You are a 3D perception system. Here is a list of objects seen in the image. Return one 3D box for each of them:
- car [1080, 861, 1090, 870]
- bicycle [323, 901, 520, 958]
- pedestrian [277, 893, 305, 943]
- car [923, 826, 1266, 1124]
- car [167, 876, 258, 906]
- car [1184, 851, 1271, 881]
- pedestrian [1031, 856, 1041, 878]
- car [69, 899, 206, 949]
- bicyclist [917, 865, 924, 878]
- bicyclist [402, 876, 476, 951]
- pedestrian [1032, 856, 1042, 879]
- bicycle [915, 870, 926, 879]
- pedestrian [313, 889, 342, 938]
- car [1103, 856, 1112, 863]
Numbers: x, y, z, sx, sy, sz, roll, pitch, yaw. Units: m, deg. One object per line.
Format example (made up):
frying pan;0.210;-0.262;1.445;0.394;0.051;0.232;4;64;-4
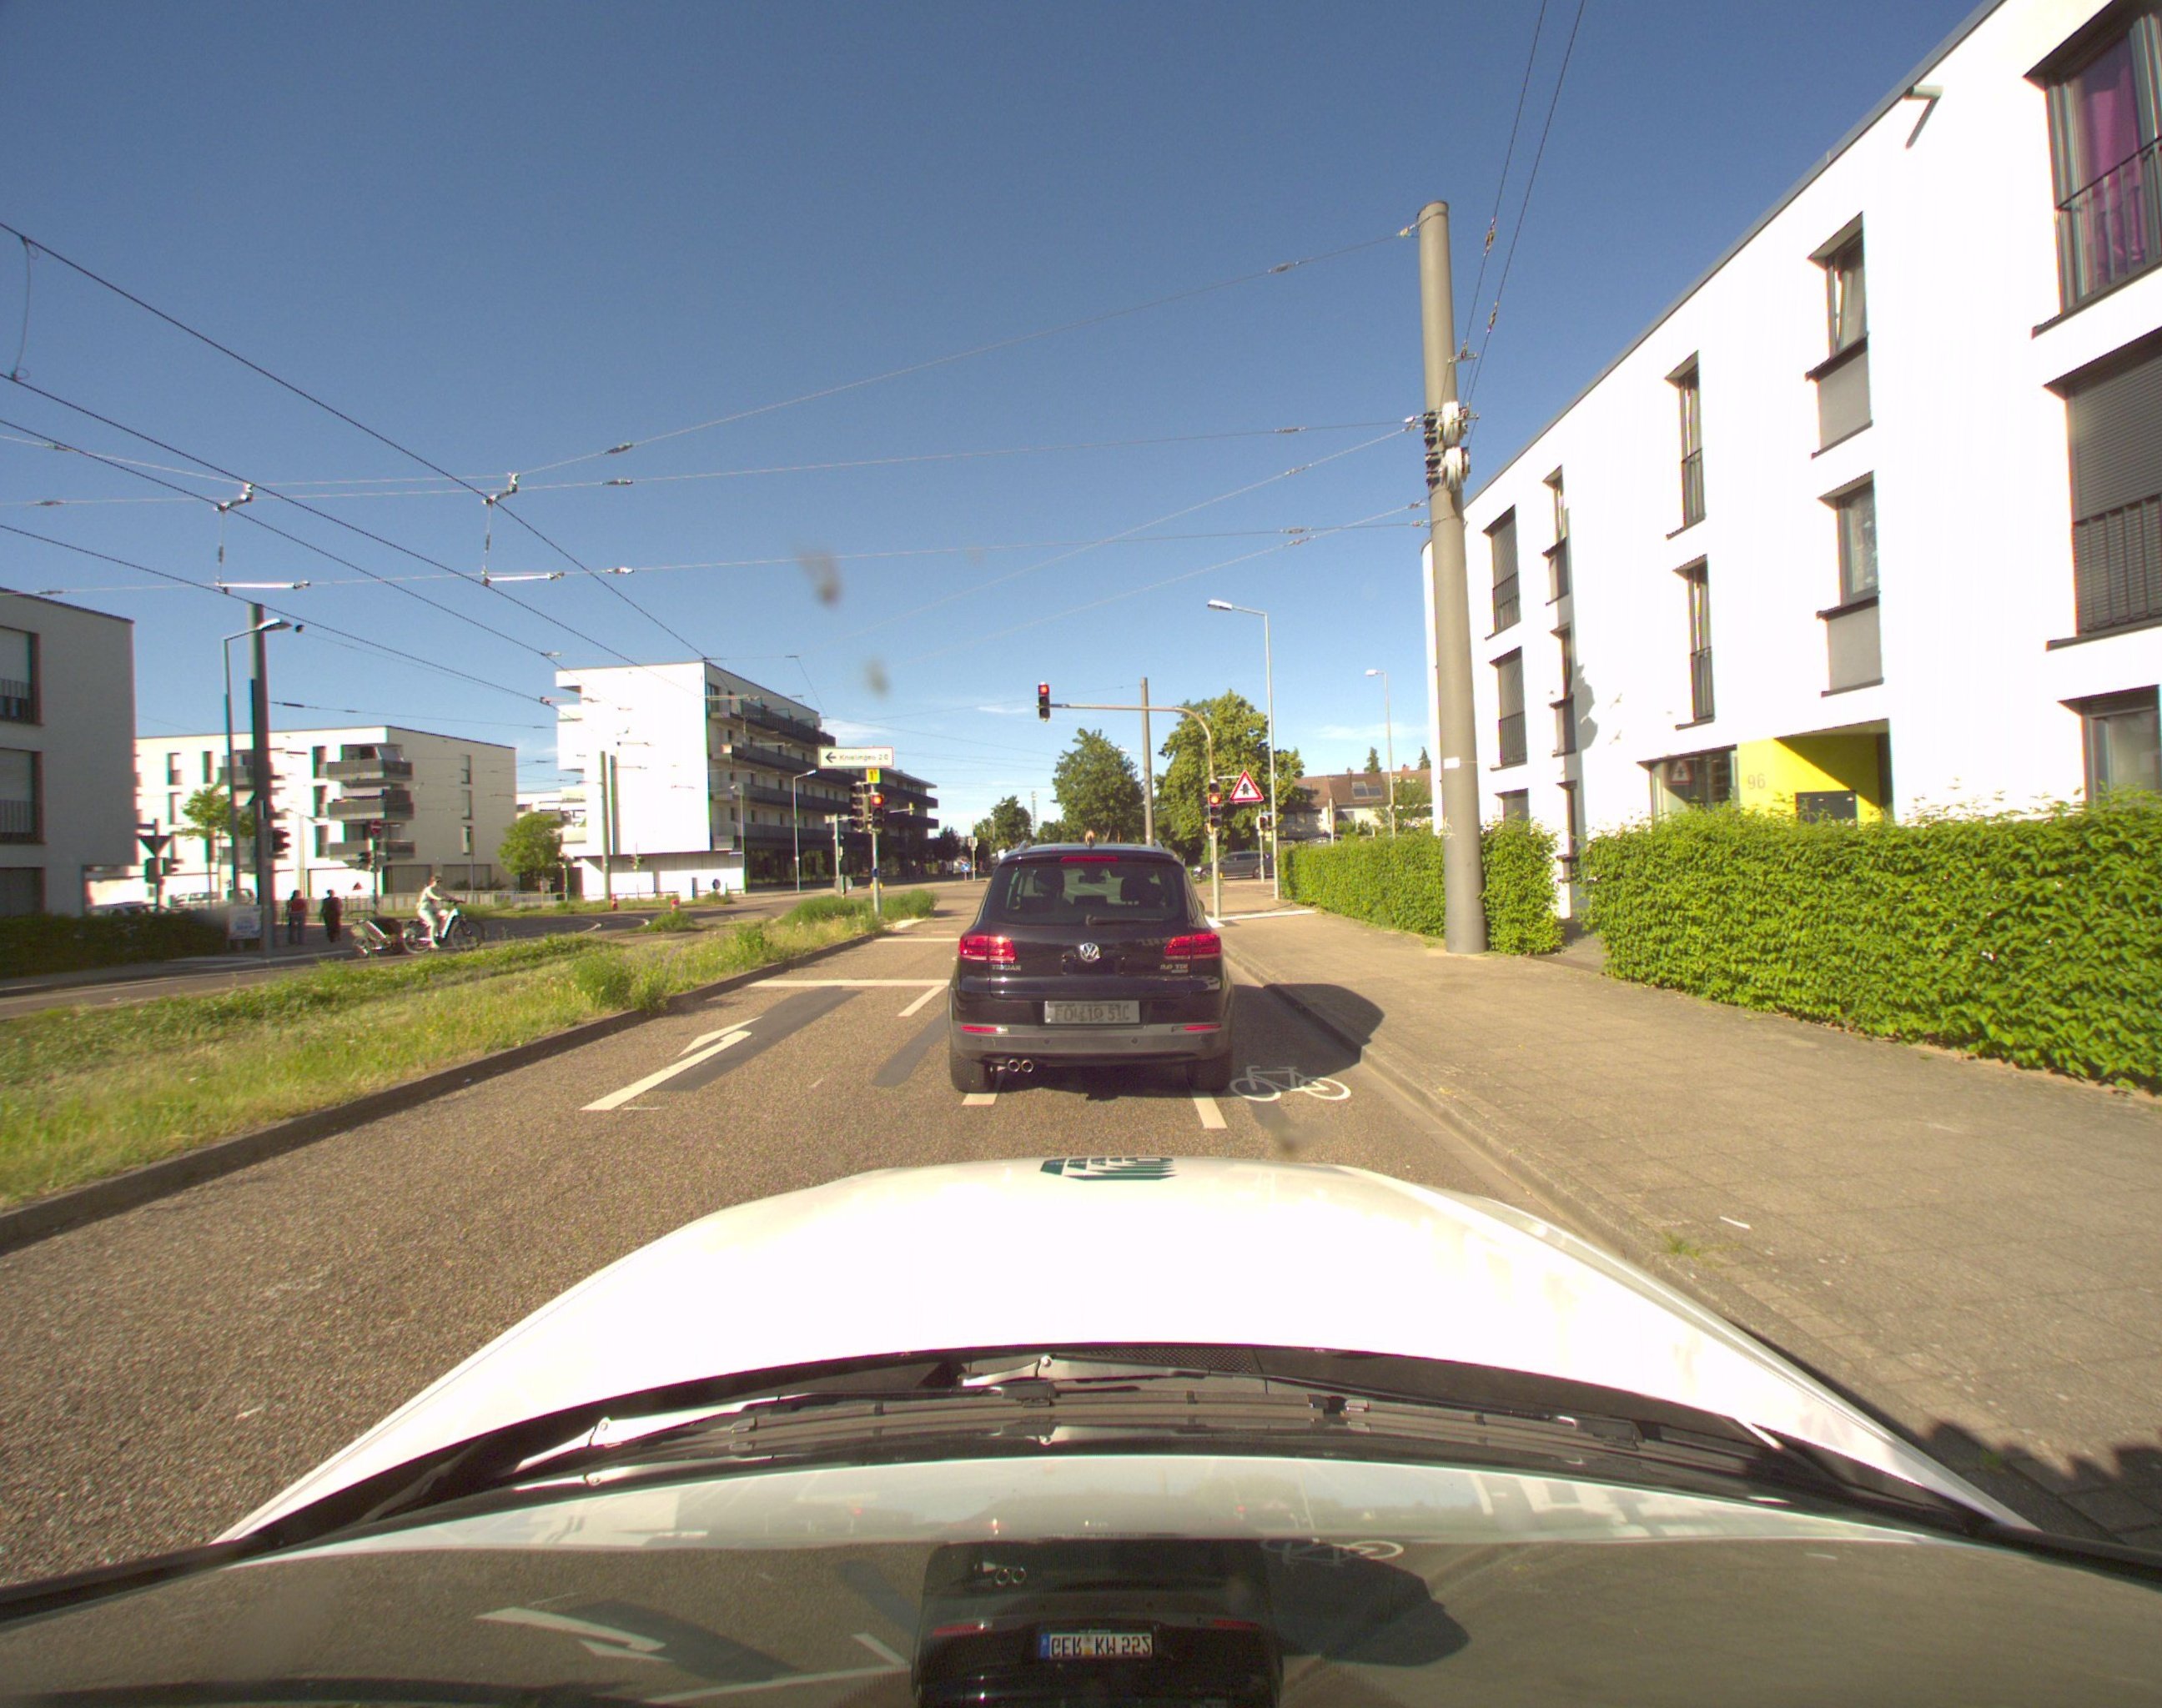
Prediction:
car;0.719;2.226;158.785;1.648;1.640;4.004;-1;0;4
bicycle;-15.121;1.728;18.755;3.670;1.174;0.999;1;0;0
pedestrian;-24.224;1.946;24.983;0.562;1.464;0.734;-1;0;-40
car;0.098;0.678;6.574;1.899;1.643;4.000;-1;0;0
car;-58.714;2.477;55.120;3.974;1.838;2.000;-1;0;0
car;7.867;0.631;44.030;4.474;1.504;2.003;-1;0;6
pedestrian;-3.304;0.957;59.395;0.600;1.565;0.530;-1;0;6
car;-37.578;2.767;32.488;3.478;1.652;1.593;-4;0;1
bicyclist;-15.710;1.733;79.773;0.472;1.223;0.713;-1;0;5
bicyclist;-14.744;1.348;18.726;0.906;1.630;0.976;-1;0;1
pedestrian;-3.222;0.977;60.007;0.600;1.640;0.530;-1;0;6
bicycle;-15.715;1.998;79.774;0.493;0.848;2.082;-1;0;6
pedestrian;-23.504;1.845;25.412;0.561;1.464;0.605;-1;0;-36
car;5.157;1.129;159.523;1.745;1.387;4.000;-1;0;0
